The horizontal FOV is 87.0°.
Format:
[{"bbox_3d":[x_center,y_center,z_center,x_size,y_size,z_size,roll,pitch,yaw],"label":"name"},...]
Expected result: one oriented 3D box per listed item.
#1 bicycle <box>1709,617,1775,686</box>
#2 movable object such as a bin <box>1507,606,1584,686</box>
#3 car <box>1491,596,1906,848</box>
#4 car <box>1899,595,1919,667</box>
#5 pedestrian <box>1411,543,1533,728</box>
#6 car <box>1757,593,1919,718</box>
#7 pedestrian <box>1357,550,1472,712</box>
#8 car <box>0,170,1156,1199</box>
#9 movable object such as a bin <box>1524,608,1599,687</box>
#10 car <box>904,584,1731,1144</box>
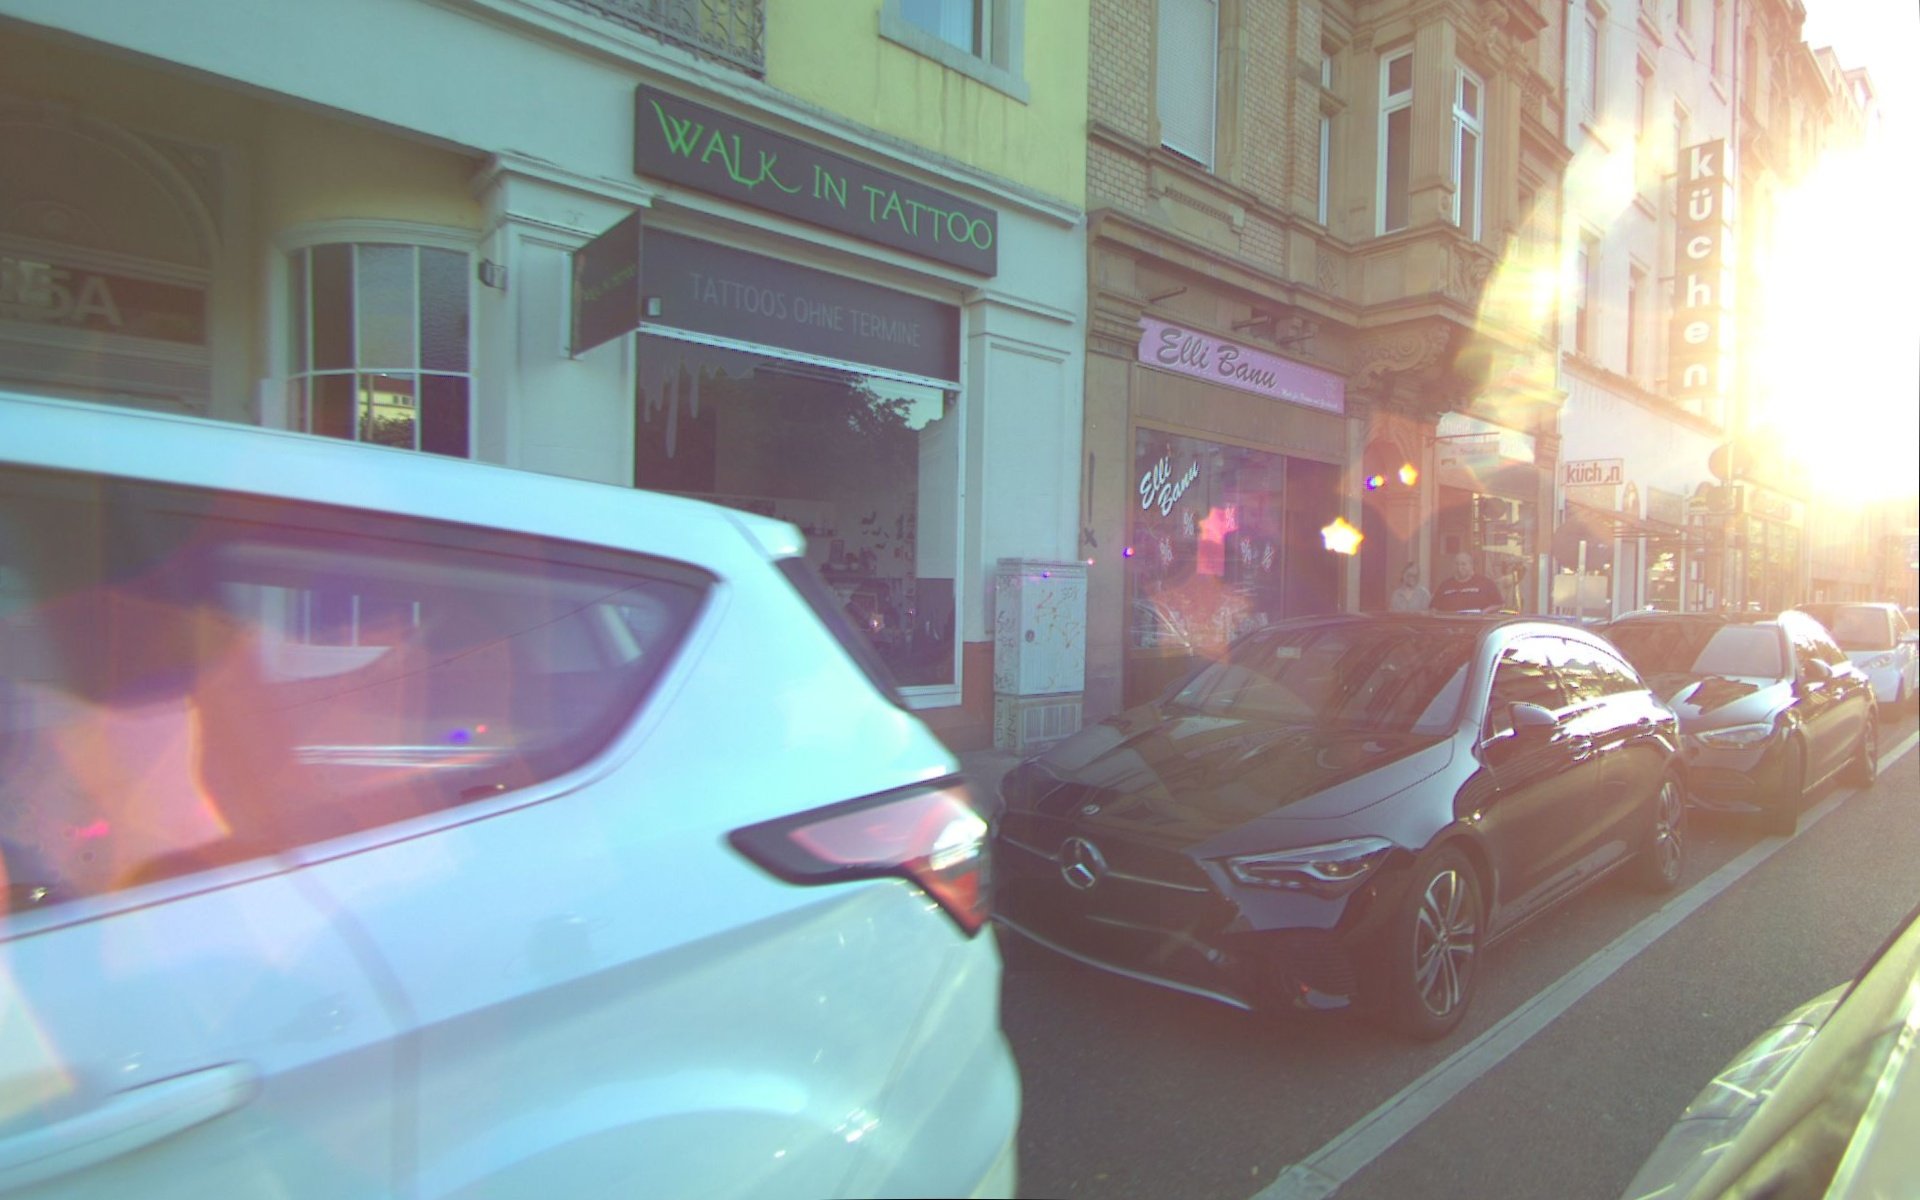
[{"bbox_3d":[12.665,0.800,16.372,1.914,1.028,0.505,0,1,-42],"label":"bicycle"},{"bbox_3d":[8.511,0.647,14.722,0.607,1.083,0.776,1,3,-41],"label":"movable object such as a bin"},{"bbox_3d":[6.080,0.722,8.106,4.445,1.467,1.732,-1,0,-41],"label":"car"},{"bbox_3d":[23.030,0.662,23.297,4.741,1.556,1.760,0,0,-43],"label":"car"},{"bbox_3d":[5.458,0.341,10.780,0.993,1.850,0.774,1,2,-42],"label":"pedestrian"},{"bbox_3d":[12.676,0.689,14.357,3.225,1.556,1.535,0,0,-40],"label":"car"},{"bbox_3d":[5.181,0.324,11.535,1.024,1.732,0.774,1,2,-42],"label":"pedestrian"},{"bbox_3d":[-1.873,0.570,0.701,4.210,1.672,1.732,0,0,-41],"label":"car"},{"bbox_3d":[8.990,0.689,15.131,0.607,1.083,0.776,1,3,-41],"label":"movable object such as a bin"},{"bbox_3d":[2.002,0.682,4.767,4.396,1.467,1.732,-1,0,-41],"label":"car"}]
